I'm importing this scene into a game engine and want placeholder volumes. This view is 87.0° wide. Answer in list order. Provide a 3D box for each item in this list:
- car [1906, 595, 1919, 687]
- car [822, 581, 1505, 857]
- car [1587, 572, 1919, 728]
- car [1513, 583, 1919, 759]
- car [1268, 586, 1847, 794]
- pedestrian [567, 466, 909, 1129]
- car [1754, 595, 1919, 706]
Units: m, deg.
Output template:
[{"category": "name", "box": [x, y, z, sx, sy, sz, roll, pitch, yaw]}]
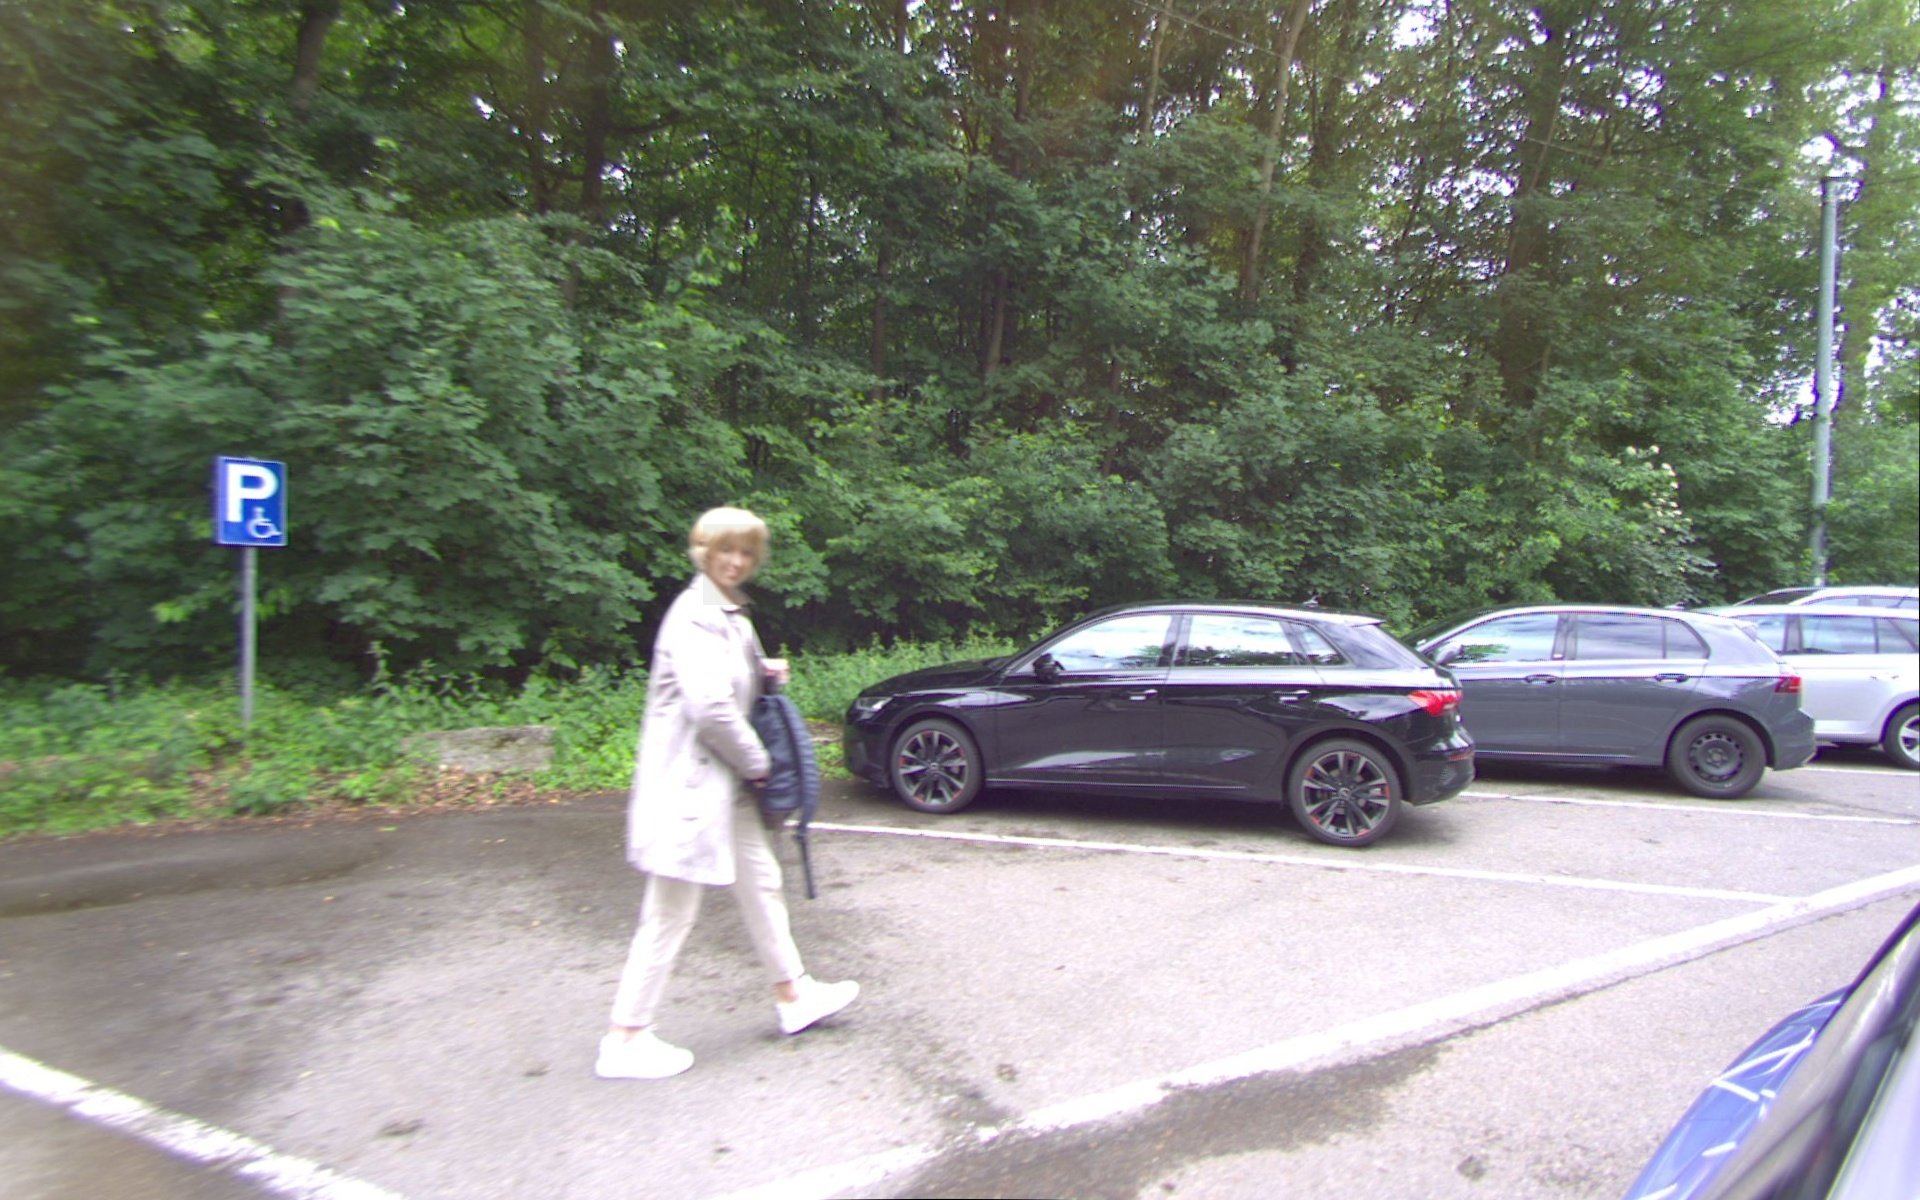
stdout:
[{"category": "car", "box": [17.311, 0.722, 15.169, 4.131, 1.476, 1.795, 1, 1, 18]}, {"category": "car", "box": [1.315, 0.637, 7.152, 4.149, 1.481, 1.888, 1, 1, 18]}, {"category": "car", "box": [10.205, 0.537, 12.097, 4.206, 1.657, 1.954, 1, 1, 18]}, {"category": "car", "box": [7.960, 0.627, 10.176, 3.953, 1.485, 1.822, 2, 1, 22]}, {"category": "car", "box": [4.764, 0.629, 8.796, 3.946, 1.440, 1.900, 1, 1, 17]}, {"category": "pedestrian", "box": [-0.728, 0.516, 3.205, 0.878, 1.746, 0.765, 1, 0, -27]}, {"category": "car", "box": [13.731, 0.683, 13.700, 4.202, 1.395, 1.956, 1, 1, 16]}]
